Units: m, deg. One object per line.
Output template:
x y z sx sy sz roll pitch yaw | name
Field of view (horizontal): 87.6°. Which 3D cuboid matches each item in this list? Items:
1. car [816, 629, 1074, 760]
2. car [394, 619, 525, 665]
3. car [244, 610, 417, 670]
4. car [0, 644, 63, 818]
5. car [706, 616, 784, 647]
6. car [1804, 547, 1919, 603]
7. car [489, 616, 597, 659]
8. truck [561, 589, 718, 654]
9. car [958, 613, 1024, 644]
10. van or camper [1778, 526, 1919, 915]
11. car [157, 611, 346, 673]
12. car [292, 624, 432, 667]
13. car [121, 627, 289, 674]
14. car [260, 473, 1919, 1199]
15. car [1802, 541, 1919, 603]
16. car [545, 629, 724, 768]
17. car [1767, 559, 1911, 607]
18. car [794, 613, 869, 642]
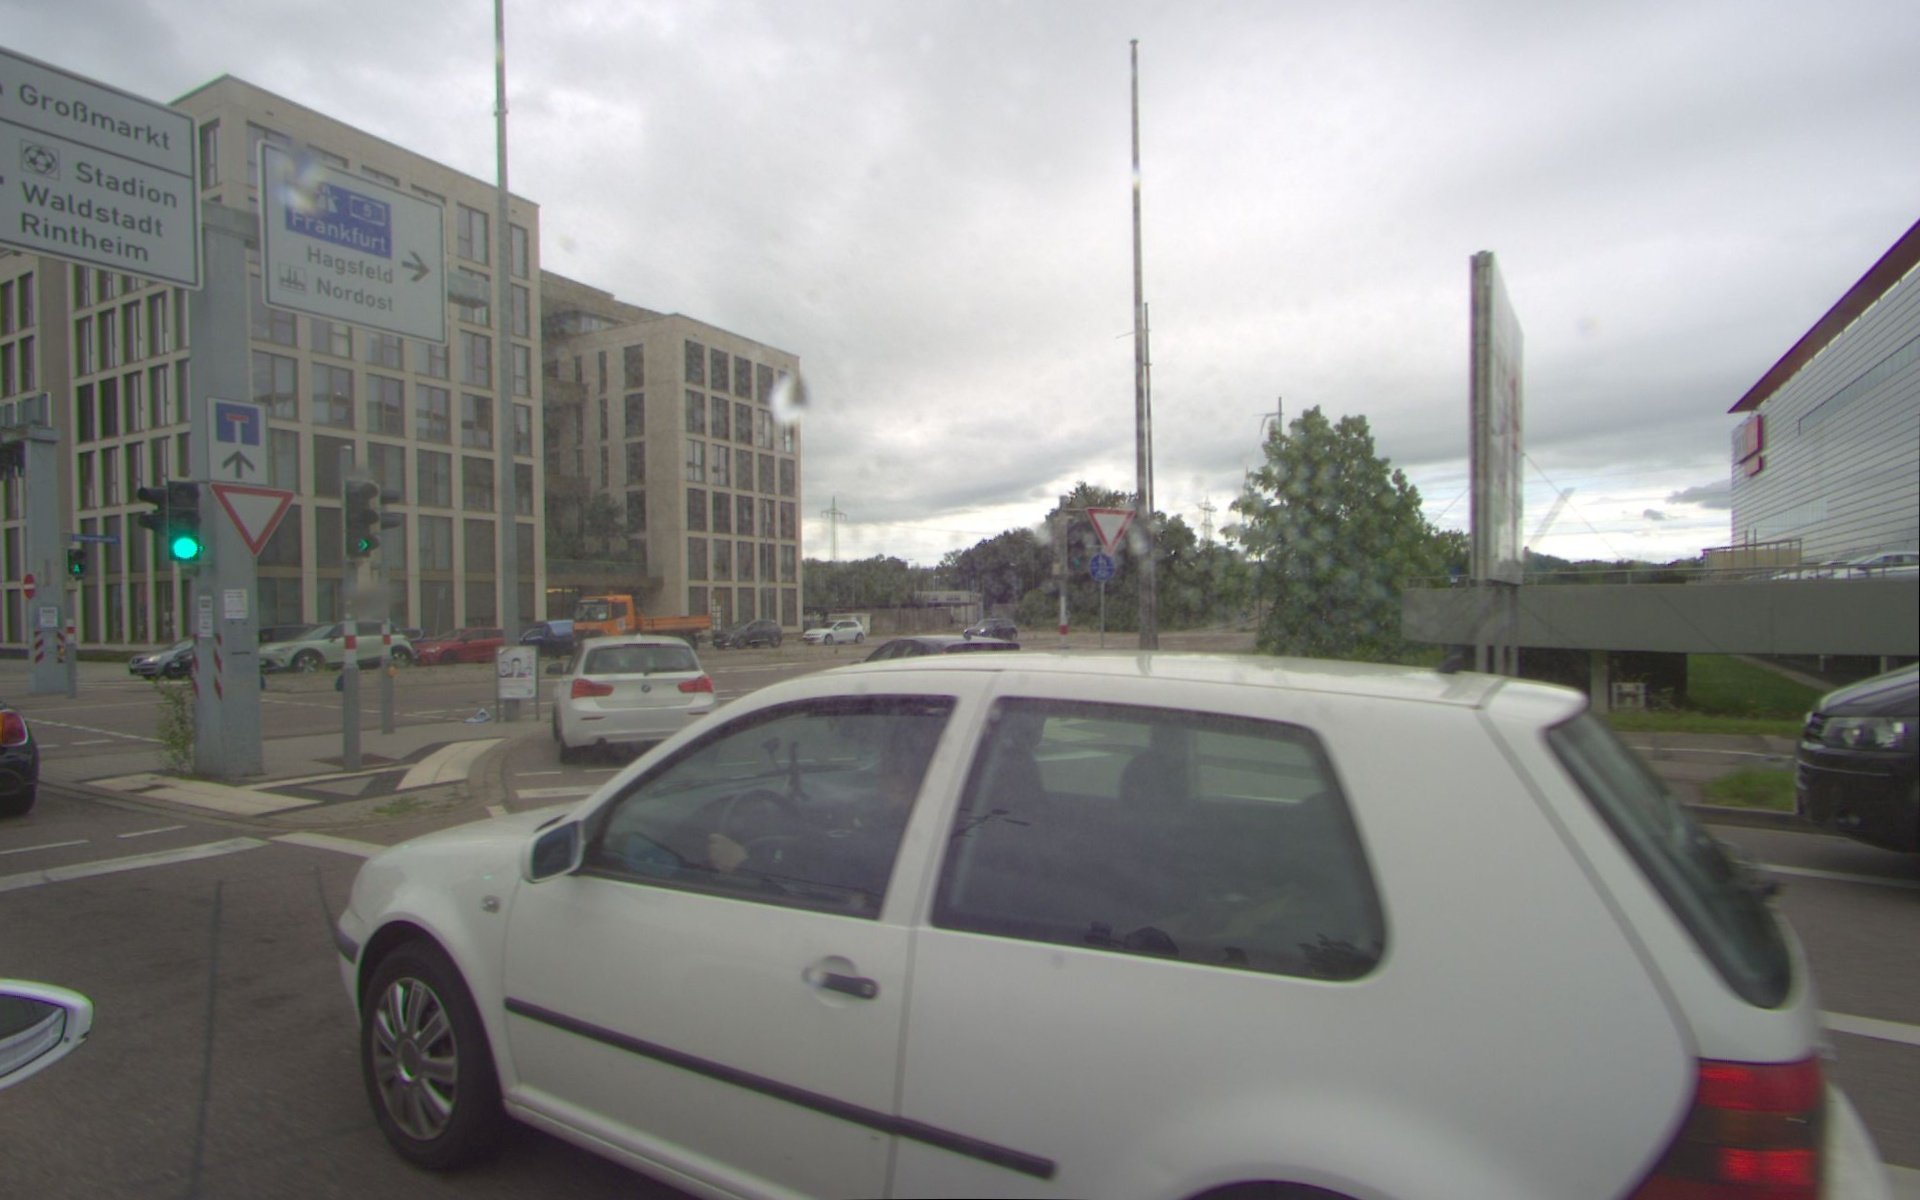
-0.393 1.133 13.516 1.876 1.468 4.163 1 -2 -27 | car
-18.576 1.584 37.344 1.970 1.621 3.985 -2 -3 29 | car
-18.827 1.219 30.133 1.875 1.664 4.055 -2 -3 27 | car
-9.716 1.130 8.828 3.592 1.433 1.783 -2 -3 32 | car
-11.959 1.778 55.937 1.973 1.678 4.098 -2 -3 33 | car
31.438 -0.835 33.814 4.200 1.696 1.768 -2 -3 32 | car
-18.466 1.682 44.547 1.970 1.791 4.135 -2 -3 28 | car
-14.274 1.055 45.083 2.780 2.671 6.648 -2 -3 30 | truck
1.980 1.814 62.539 1.974 1.791 4.395 -2 -3 36 | car
7.238 0.586 4.892 4.882 2.039 2.150 -3 -3 38 | van or camper
-21.947 1.329 31.227 1.970 1.791 4.406 -2 -3 28 | car
-22.194 1.713 37.333 1.844 1.509 4.135 -2 -3 28 | car
-24.698 1.661 32.925 1.725 1.450 4.083 -2 -3 28 | car
-0.095 0.709 2.928 3.949 1.496 1.830 -2 -3 32 | car
33.593 -1.000 36.657 3.945 2.039 1.989 -2 -3 34 | car
-4.260 1.135 12.675 1.805 1.428 4.187 0 -3 -23 | car
36.400 -0.658 41.609 4.200 1.696 1.768 -2 -3 32 | car
-7.790 1.714 61.117 1.978 1.678 4.327 -3 -3 41 | car
